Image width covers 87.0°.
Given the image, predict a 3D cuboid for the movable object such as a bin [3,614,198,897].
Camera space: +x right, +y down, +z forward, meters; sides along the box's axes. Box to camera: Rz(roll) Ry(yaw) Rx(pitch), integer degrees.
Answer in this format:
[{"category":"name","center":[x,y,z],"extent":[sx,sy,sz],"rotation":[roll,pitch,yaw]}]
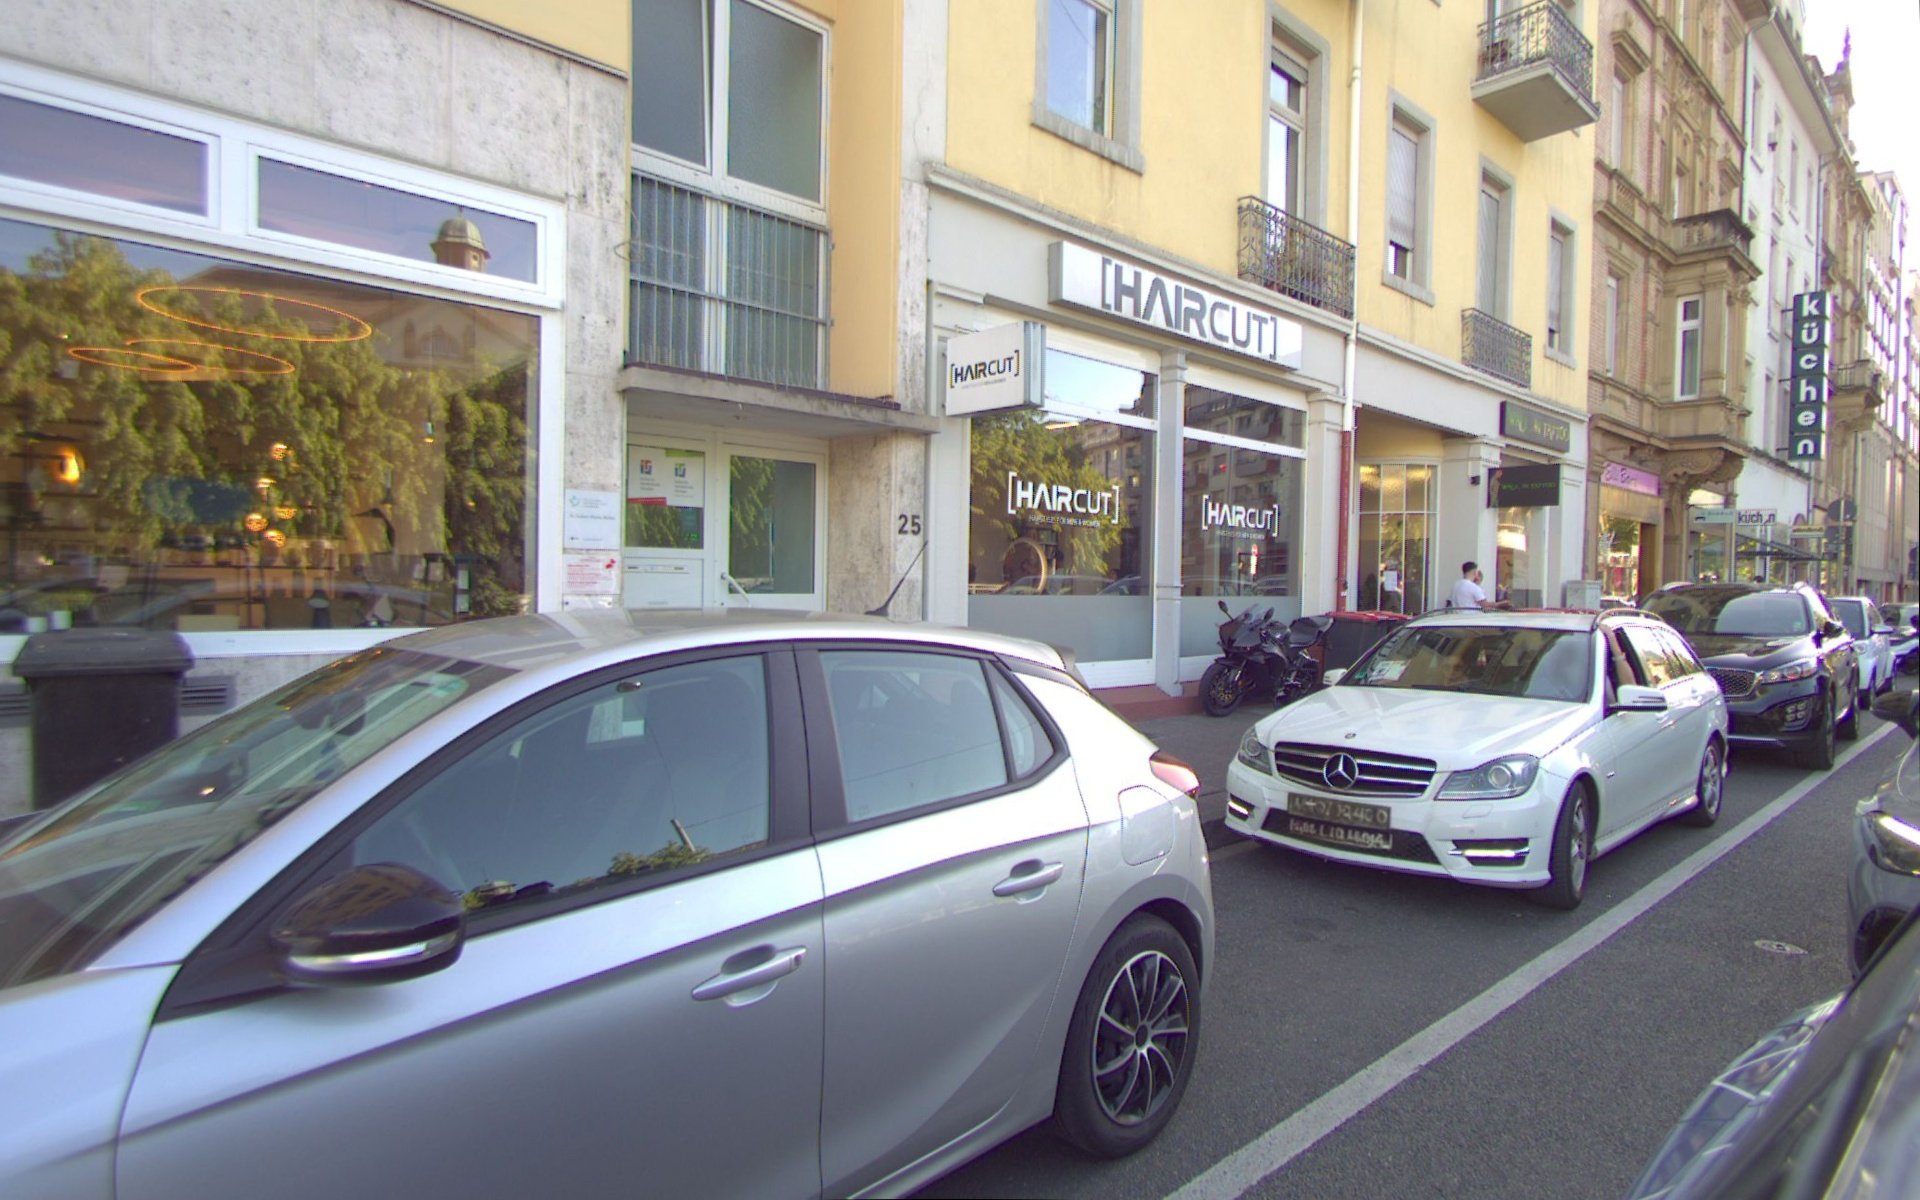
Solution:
[{"category":"movable object such as a bin","center":[-3.675,0.597,4.352],"extent":[0.591,1.041,0.812],"rotation":[0,1,-40]}]

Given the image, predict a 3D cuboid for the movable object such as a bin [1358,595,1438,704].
[{"category":"movable object such as a bin","center":[5.145,0.563,11.887],"extent":[0.633,1.222,0.647],"rotation":[0,0,-40]}]

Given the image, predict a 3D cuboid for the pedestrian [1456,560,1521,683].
[{"category":"pedestrian","center":[7.203,0.278,13.792],"extent":[0.631,1.637,0.572],"rotation":[0,0,-40]}]

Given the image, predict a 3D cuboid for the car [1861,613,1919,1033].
[{"category":"car","center":[5.315,0.769,4.269],"extent":[4.183,1.396,1.846],"rotation":[0,1,-42]}]

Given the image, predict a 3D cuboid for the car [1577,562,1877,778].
[{"category":"car","center":[7.999,0.532,10.364],"extent":[1.853,1.719,4.623],"rotation":[1,1,45]}]

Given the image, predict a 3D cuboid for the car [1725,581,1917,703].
[{"category":"car","center":[12.665,0.528,14.847],"extent":[2.965,1.587,1.695],"rotation":[0,1,-40]}]

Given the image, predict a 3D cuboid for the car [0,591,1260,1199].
[{"category":"car","center":[-1.034,0.697,2.317],"extent":[3.642,1.415,1.652],"rotation":[0,1,-42]}]

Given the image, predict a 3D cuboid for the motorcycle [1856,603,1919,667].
[{"category":"motorcycle","center":[19.286,0.707,20.516],"extent":[1.514,1.248,0.771],"rotation":[1,0,1]}]

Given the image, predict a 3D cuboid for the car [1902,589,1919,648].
[{"category":"car","center":[26.399,0.481,26.859],"extent":[3.931,1.504,1.713],"rotation":[0,1,-42]}]

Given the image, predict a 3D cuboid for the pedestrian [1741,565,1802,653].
[{"category":"pedestrian","center":[15.389,0.156,19.199],"extent":[0.750,1.637,0.794],"rotation":[0,1,-43]}]

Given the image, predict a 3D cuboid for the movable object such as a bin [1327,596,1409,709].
[{"category":"movable object such as a bin","center":[4.634,0.569,11.498],"extent":[0.633,1.222,0.647],"rotation":[0,0,-40]}]

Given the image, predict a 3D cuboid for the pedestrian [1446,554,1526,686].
[{"category":"pedestrian","center":[6.754,0.239,12.999],"extent":[0.687,1.637,0.643],"rotation":[0,0,-33]}]

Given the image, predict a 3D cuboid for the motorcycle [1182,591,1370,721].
[{"category":"motorcycle","center":[3.319,0.520,10.525],"extent":[2.208,1.179,0.773],"rotation":[0,4,-41]}]

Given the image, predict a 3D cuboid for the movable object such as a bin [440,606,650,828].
[{"category":"movable object such as a bin","center":[-2.281,0.582,5.559],"extent":[0.878,1.066,0.752],"rotation":[0,1,-40]}]

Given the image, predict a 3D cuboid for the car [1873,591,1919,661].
[{"category":"car","center":[22.180,0.560,22.997],"extent":[3.931,1.504,1.713],"rotation":[0,1,-42]}]

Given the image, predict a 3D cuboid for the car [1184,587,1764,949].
[{"category":"car","center":[3.475,0.676,6.359],"extent":[4.519,1.480,1.757],"rotation":[0,1,-42]}]
